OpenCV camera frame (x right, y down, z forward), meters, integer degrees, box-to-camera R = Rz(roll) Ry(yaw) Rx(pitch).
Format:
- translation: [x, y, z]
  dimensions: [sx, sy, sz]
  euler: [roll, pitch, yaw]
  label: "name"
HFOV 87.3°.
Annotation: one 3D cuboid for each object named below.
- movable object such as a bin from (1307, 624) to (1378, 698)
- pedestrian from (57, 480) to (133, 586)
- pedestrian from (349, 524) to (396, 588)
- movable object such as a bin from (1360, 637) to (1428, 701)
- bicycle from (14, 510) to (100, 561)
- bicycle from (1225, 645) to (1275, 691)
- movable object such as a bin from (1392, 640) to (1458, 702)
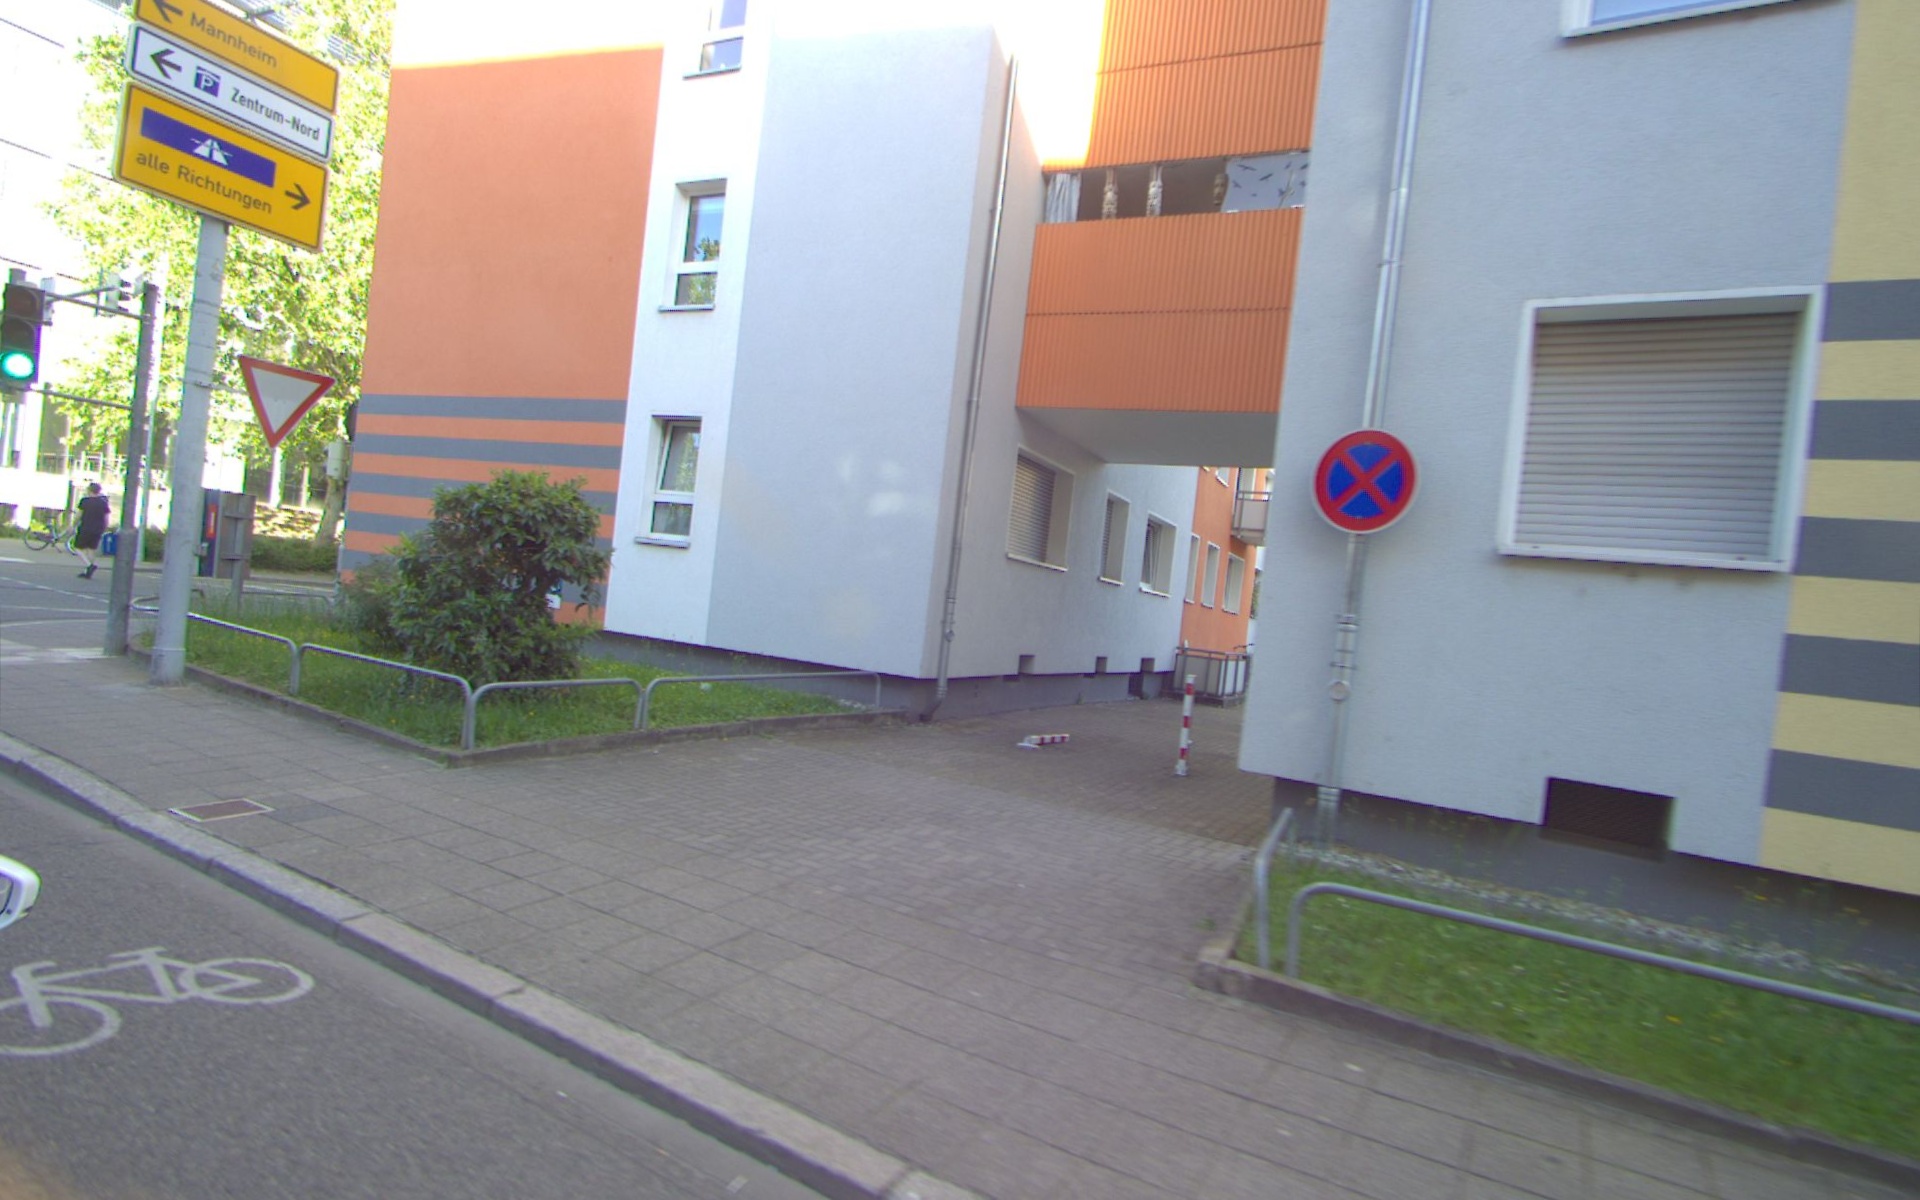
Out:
- translation: [10.150, 1.622, 26.689]
  dimensions: [1.225, 1.807, 1.170]
  euler: [4, 3, -43]
  label: "movable object such as a bin"
- translation: [-16.452, -1.268, 19.140]
  dimensions: [0.823, 1.861, 0.708]
  euler: [7, -1, 32]
  label: "pedestrian"
- translation: [-18.499, -1.375, 31.692]
  dimensions: [0.696, 1.861, 0.837]
  euler: [7, -1, 23]
  label: "pedestrian"
- translation: [11.971, 1.898, 27.768]
  dimensions: [1.225, 1.605, 1.170]
  euler: [4, 2, -43]
  label: "movable object such as a bin"
- translation: [-23.674, -1.690, 26.372]
  dimensions: [1.657, 1.063, 0.508]
  euler: [9, 2, -2]
  label: "bicycle"
- translation: [7.329, 1.718, 25.350]
  dimensions: [0.669, 1.023, 2.457]
  euler: [7, 0, 26]
  label: "bicycle"
- translation: [13.182, 2.009, 28.542]
  dimensions: [1.225, 1.605, 1.170]
  euler: [4, 2, -43]
  label: "movable object such as a bin"
